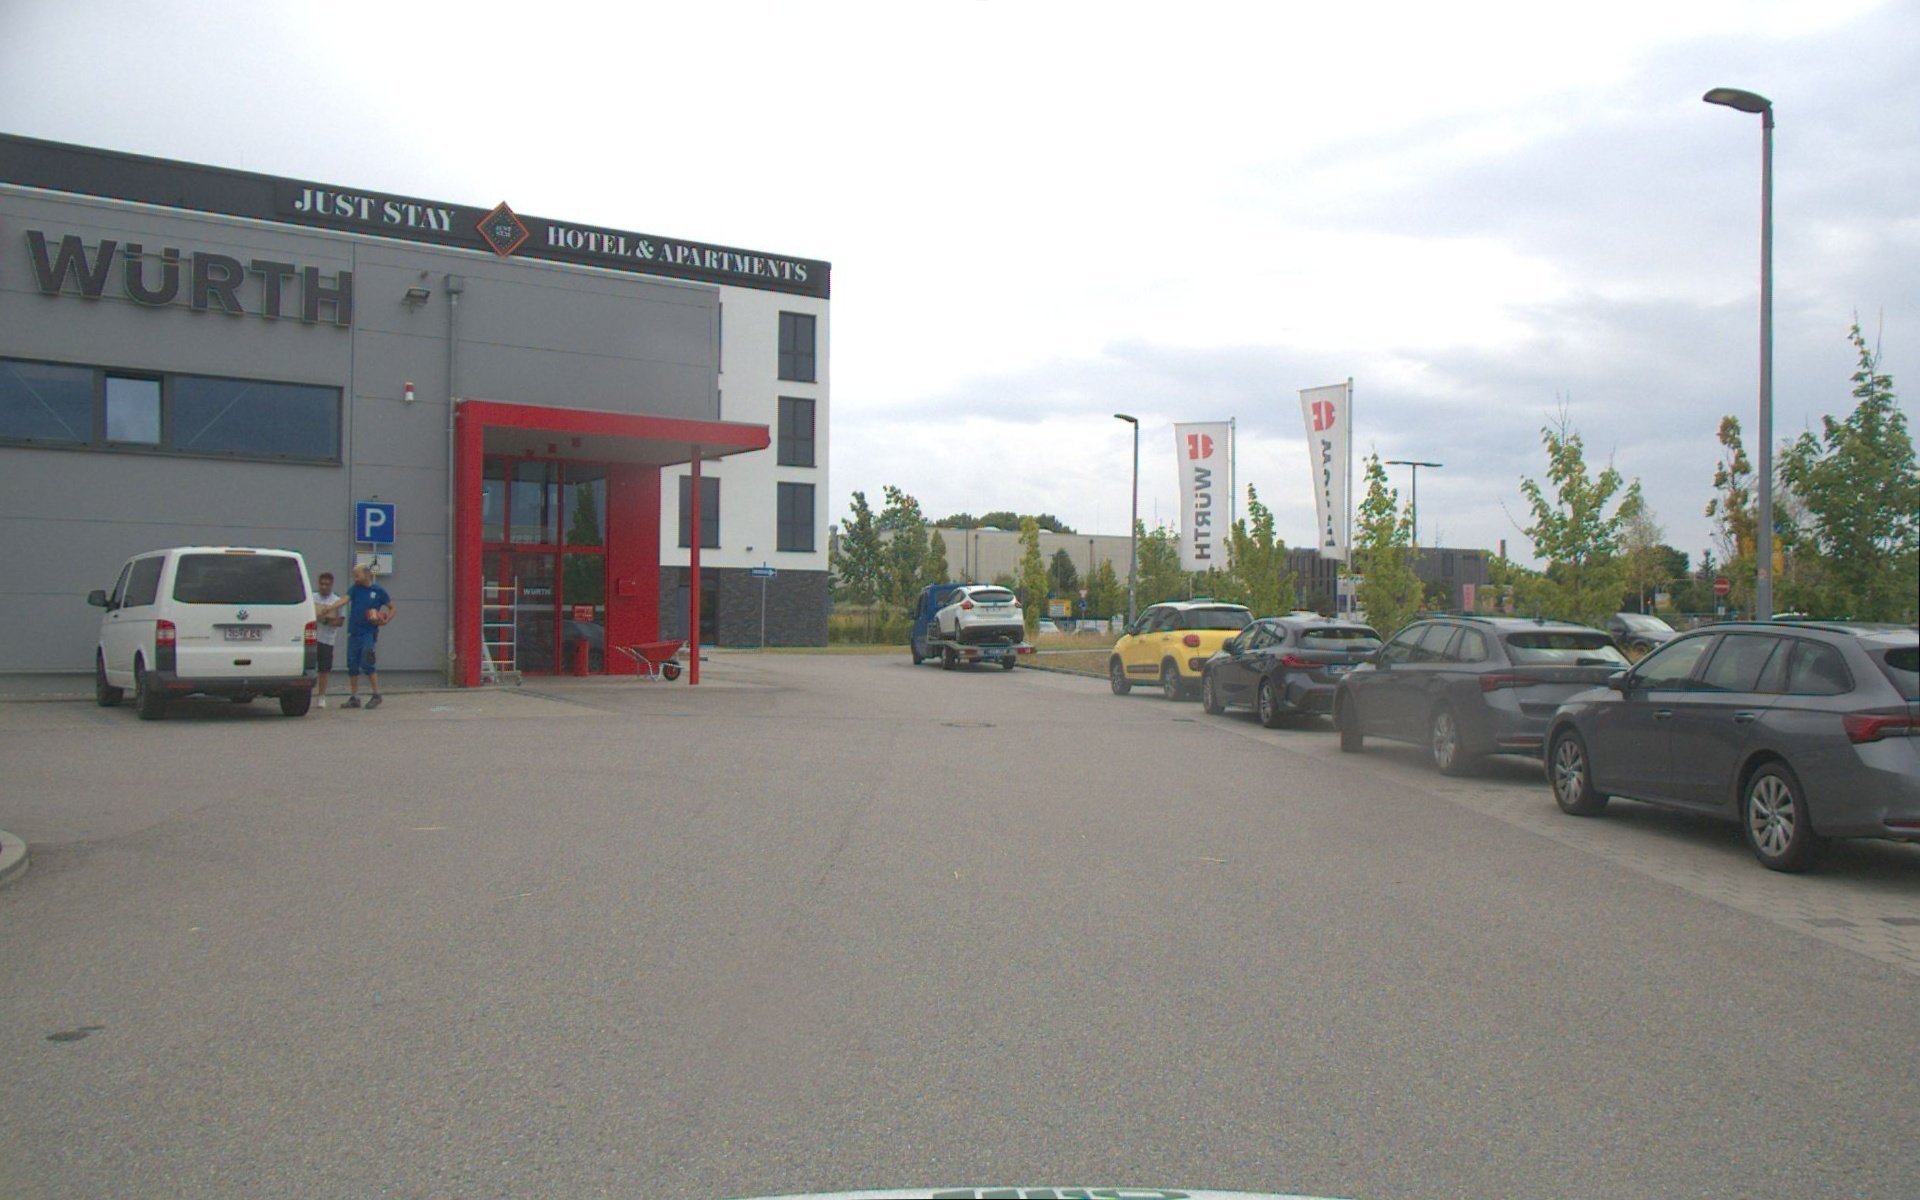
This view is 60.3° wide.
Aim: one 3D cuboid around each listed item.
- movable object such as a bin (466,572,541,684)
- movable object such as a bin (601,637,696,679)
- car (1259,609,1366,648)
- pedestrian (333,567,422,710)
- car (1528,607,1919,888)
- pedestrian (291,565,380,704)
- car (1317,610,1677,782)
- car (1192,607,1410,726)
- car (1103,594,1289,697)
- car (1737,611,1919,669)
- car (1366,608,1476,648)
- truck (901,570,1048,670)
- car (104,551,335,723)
[{"bbox_3d":[-7.174,0.426,25.967,0.902,1.701,0.735,-3,1,-34],"label":"movable object such as a bin"},{"bbox_3d":[-5.625,1.047,29.839,1.471,0.716,0.956,2,-1,-28],"label":"movable object such as a bin"},{"bbox_3d":[13.352,1.059,62.919,1.739,1.419,4.526,0,0,-23],"label":"car"},{"bbox_3d":[-7.667,0.491,21.776,0.664,1.834,0.878,0,-1,33],"label":"pedestrian"},{"bbox_3d":[5.622,0.811,11.131,1.717,1.495,4.471,1,0,-5],"label":"car"},{"bbox_3d":[-8.191,0.441,21.724,0.612,1.782,0.904,0,-1,28],"label":"pedestrian"},{"bbox_3d":[5.220,0.862,16.780,1.718,1.495,4.468,1,0,-8],"label":"car"},{"bbox_3d":[4.629,0.862,23.057,1.718,1.495,4.100,1,0,-8],"label":"car"},{"bbox_3d":[4.115,0.789,29.473,1.826,1.679,3.983,2,-1,-16],"label":"car"},{"bbox_3d":[22.823,1.012,43.315,1.738,1.419,4.528,0,0,-22],"label":"car"},{"bbox_3d":[18.858,1.133,67.865,1.901,1.512,4.382,-1,0,-27],"label":"car"},{"bbox_3d":[0.246,0.550,45.719,2.291,2.448,7.870,-2,-1,-13],"label":"truck"},{"bbox_3d":[-9.228,0.416,20.433,2.036,1.888,4.015,-1,0,-33],"label":"car"}]
